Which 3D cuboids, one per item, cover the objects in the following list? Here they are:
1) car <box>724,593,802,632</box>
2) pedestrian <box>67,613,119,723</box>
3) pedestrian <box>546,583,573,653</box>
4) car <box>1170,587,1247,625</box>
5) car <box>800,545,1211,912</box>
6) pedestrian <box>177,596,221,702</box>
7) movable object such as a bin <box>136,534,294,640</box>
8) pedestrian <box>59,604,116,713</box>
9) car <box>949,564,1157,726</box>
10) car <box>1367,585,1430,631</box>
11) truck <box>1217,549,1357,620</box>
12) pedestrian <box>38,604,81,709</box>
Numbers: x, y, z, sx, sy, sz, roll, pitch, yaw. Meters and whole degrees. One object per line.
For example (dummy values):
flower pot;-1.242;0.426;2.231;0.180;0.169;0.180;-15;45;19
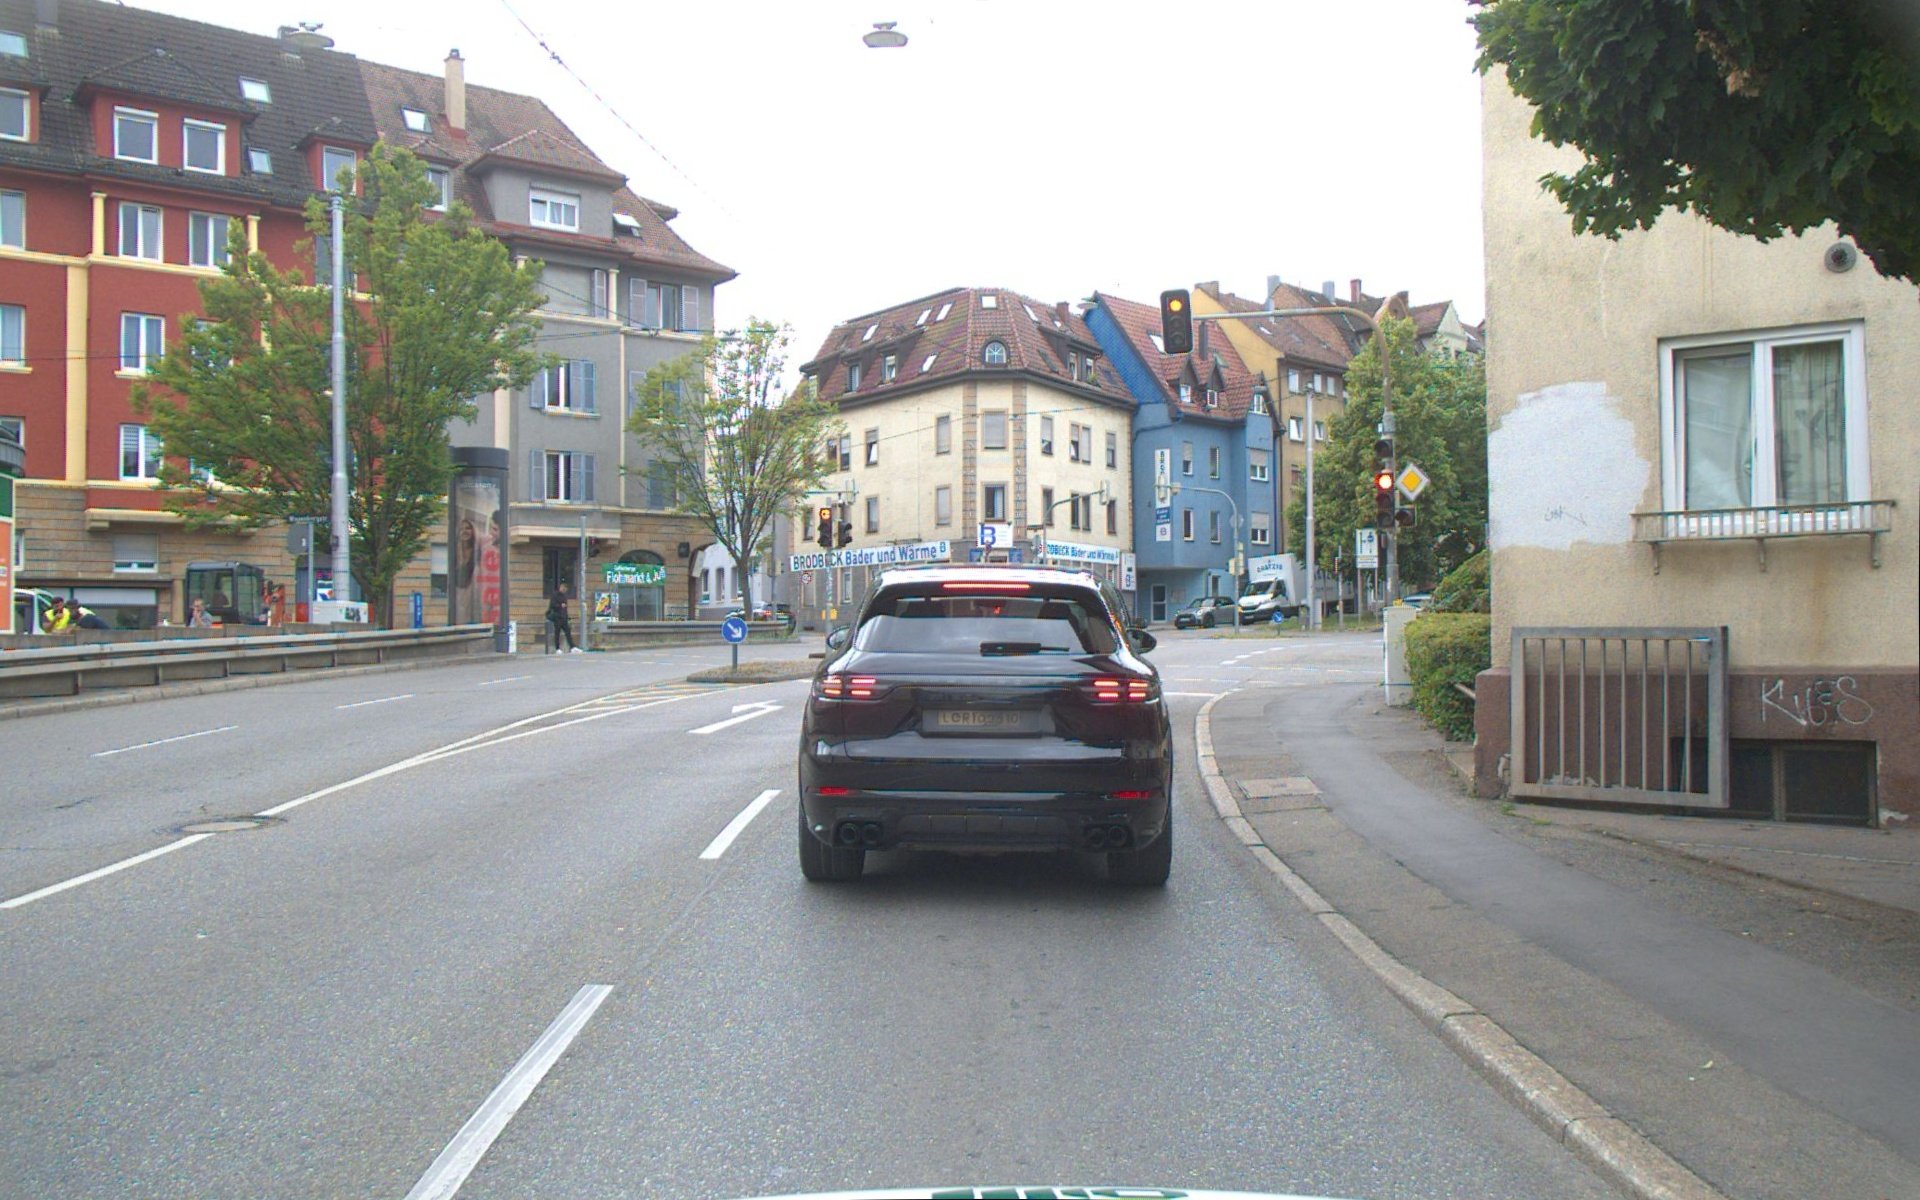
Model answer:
car;-9.171;0.571;76.694;1.977;1.713;3.950;1;-1;-35
pedestrian;-13.906;1.088;26.533;0.552;1.729;0.542;2;0;-11
pedestrian;-10.273;0.457;42.401;0.503;1.760;0.451;2;0;2
car;11.554;0.290;76.758;1.960;1.713;3.985;0;0;35
car;0.139;0.570;9.778;1.939;1.713;3.998;0;1;-3
pedestrian;-12.844;0.825;27.917;0.537;1.760;0.586;2;-1;-34
movable object such as a bin;-13.801;-0.231;30.870;1.869;1.802;3.987;2;0;-13
pedestrian;-14.629;0.975;27.746;0.561;1.792;0.616;1;-1;35
car;1.213;0.476;19.566;1.951;1.713;4.003;0;0;11
car;16.731;0.287;63.316;1.951;1.713;4.003;0;0;9
truck;16.668;-0.730;83.794;2.832;3.398;8.739;1;0;42
pedestrian;-15.450;0.962;28.370;0.534;1.760;0.473;1;-1;44
